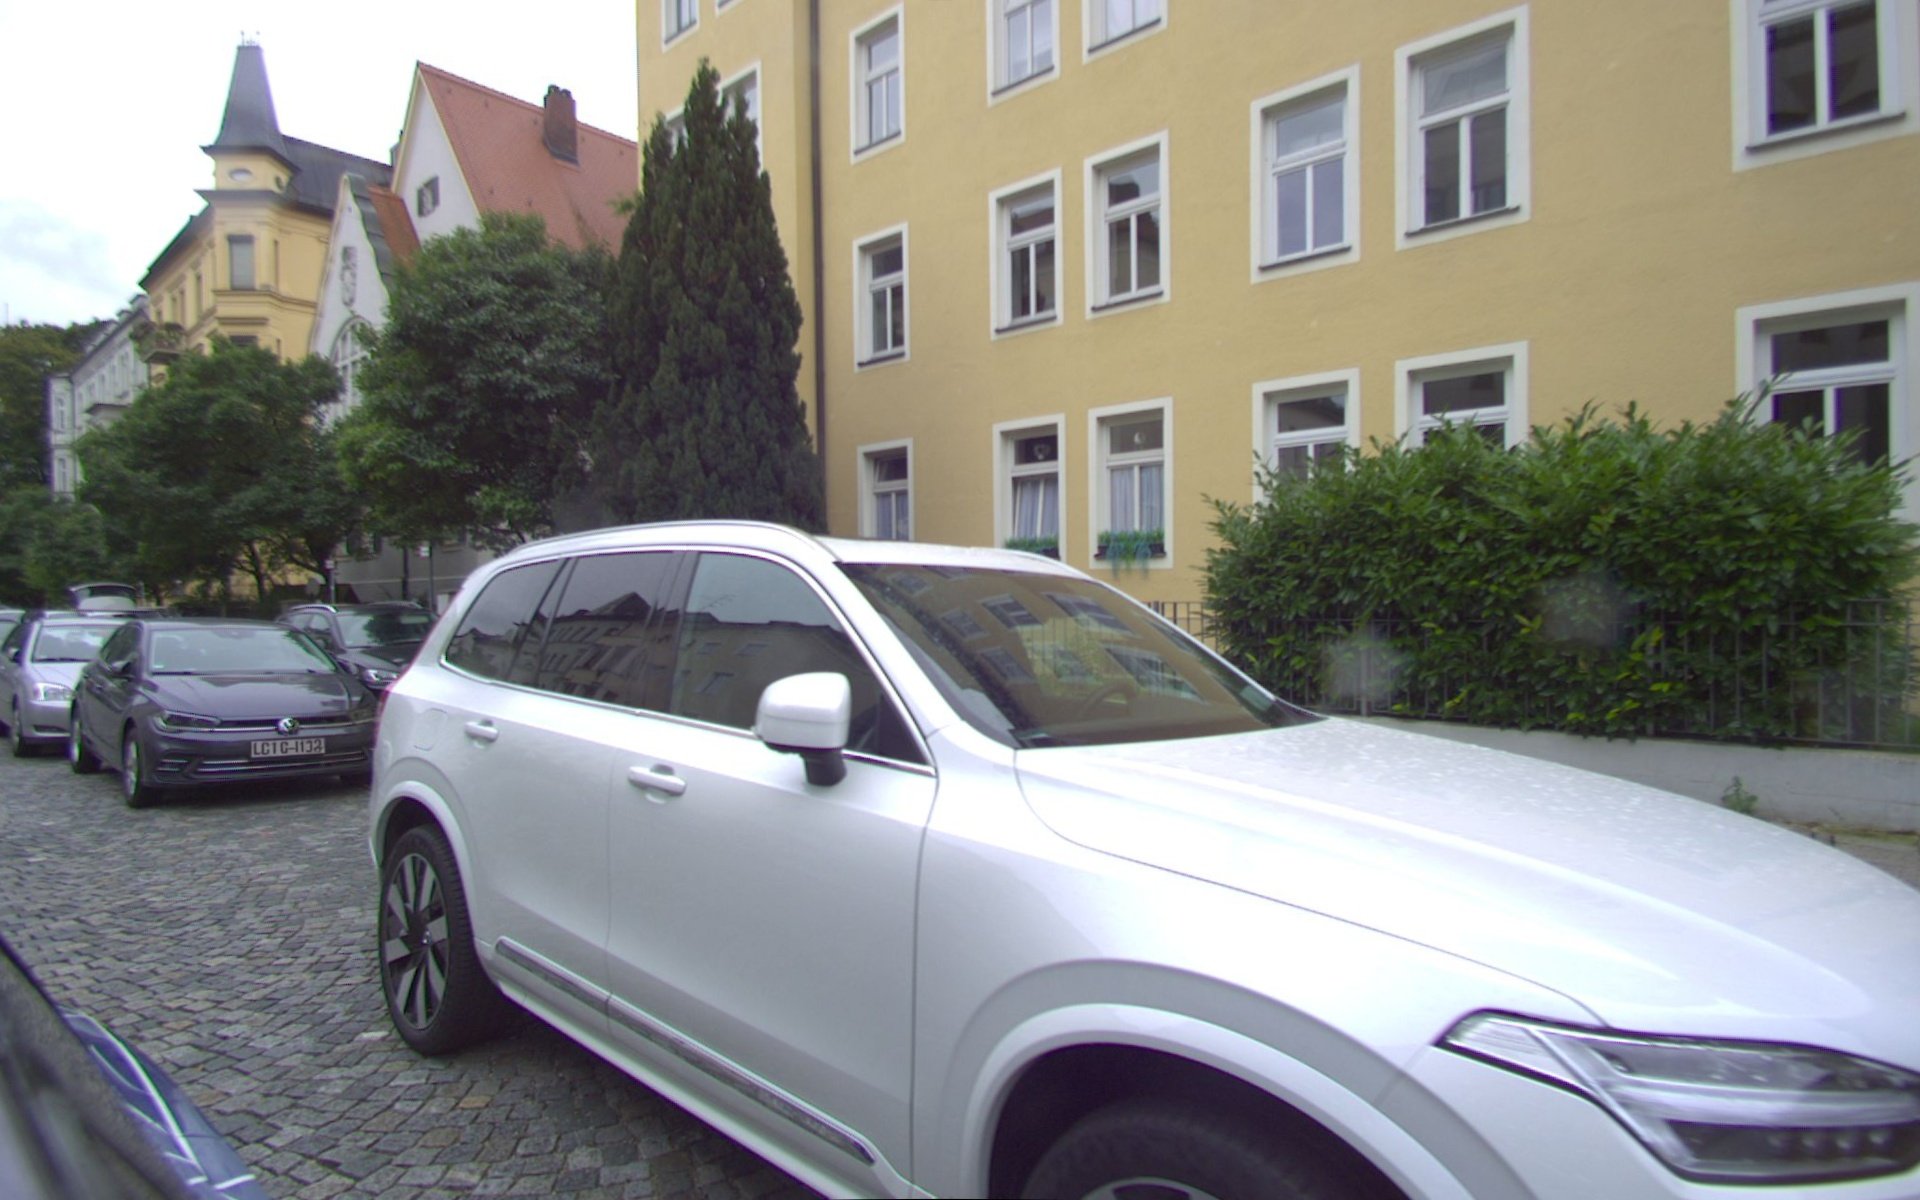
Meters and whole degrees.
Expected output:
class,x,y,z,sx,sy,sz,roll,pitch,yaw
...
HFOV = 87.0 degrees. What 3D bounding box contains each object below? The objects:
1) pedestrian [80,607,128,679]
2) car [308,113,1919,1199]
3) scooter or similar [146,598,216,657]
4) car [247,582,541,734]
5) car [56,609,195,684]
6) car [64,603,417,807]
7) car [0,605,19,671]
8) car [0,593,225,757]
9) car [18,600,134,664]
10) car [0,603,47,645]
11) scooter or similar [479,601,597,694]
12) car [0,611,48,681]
class,x,y,z,sx,sy,sz,roll,pitch,yaw
pedestrian,-20.514,1.026,24.254,0.582,1.662,0.758,-1,1,42
car,-0.105,0.492,3.158,5.173,1.822,1.985,-1,-1,42
scooter or similar,-21.668,0.746,28.120,2.634,1.534,1.051,-1,0,42
car,-7.265,0.613,12.753,4.719,1.508,1.698,-1,3,41
car,-18.857,0.967,22.796,4.560,1.427,1.757,-1,2,42
car,-6.540,0.764,9.042,3.934,1.429,1.711,-1,-1,41
car,-25.543,0.940,25.862,4.534,1.615,1.722,-1,-1,41
car,-10.239,0.752,11.867,4.388,1.574,1.696,-1,-1,41
car,-24.157,0.824,27.609,4.464,1.547,1.722,-1,2,41
car,-36.351,0.897,38.528,4.388,1.477,1.823,-1,2,42
scooter or similar,-6.115,0.660,14.652,1.522,1.209,0.946,-1,3,42
car,-21.820,0.964,22.503,4.912,1.466,1.795,-1,-2,42
